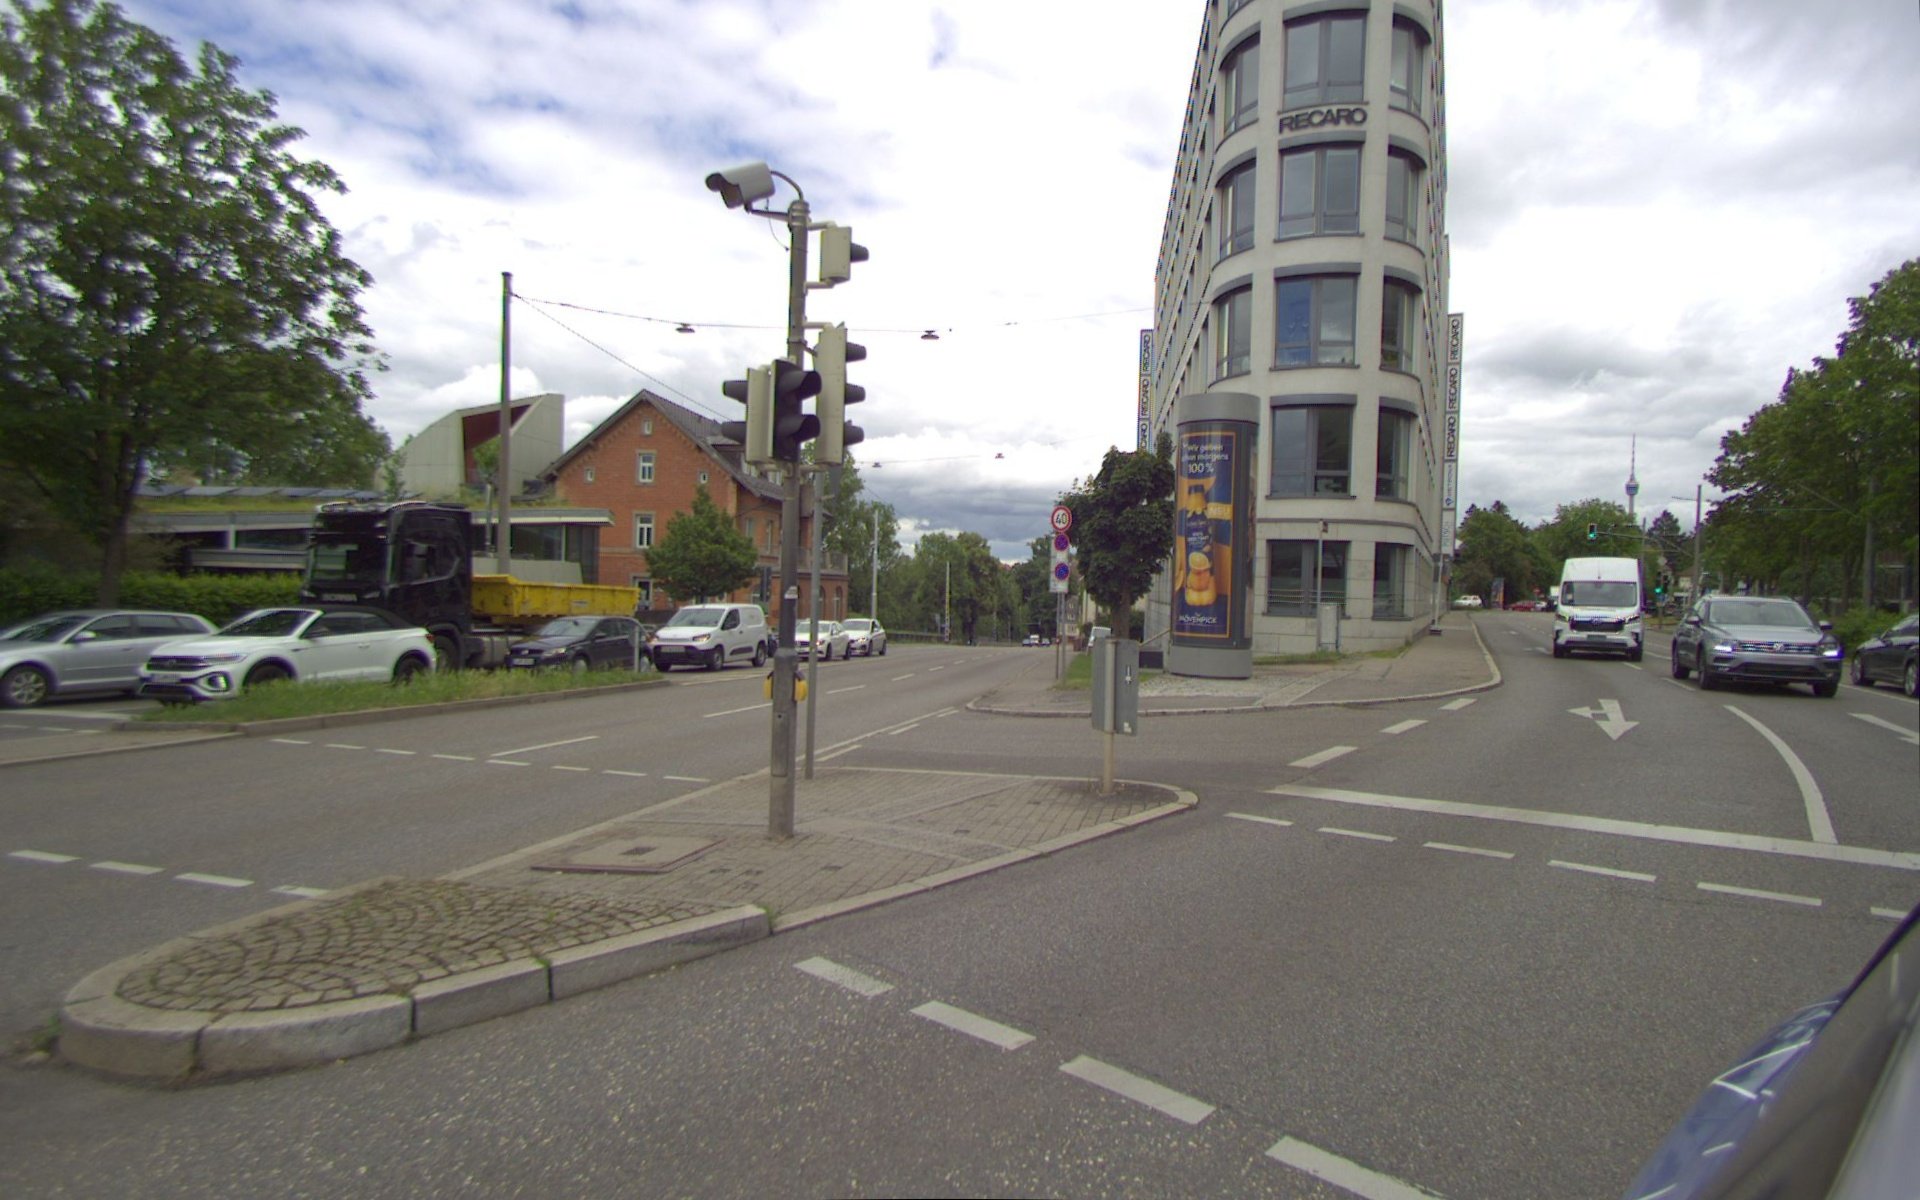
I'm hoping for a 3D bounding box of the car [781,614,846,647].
[{"bbox_3d":[-6.599,1.358,45.915,1.660,1.459,3.969,-1,-1,12],"label":"car"}]

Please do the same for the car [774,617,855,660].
[{"bbox_3d":[-5.095,1.306,35.909,1.726,1.394,4.277,0,-1,8],"label":"car"}]

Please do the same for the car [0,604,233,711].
[{"bbox_3d":[-13.903,0.804,15.570,1.961,1.461,4.139,0,0,15],"label":"car"}]

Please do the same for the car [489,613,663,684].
[{"bbox_3d":[-8.343,0.998,22.387,1.630,1.391,3.959,0,-1,14],"label":"car"}]

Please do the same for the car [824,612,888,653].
[{"bbox_3d":[-4.308,1.333,42.592,1.708,1.588,4.315,-1,-1,8],"label":"car"}]

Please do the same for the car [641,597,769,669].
[{"bbox_3d":[-6.966,0.866,28.095,1.728,1.820,4.271,0,-1,12],"label":"car"}]

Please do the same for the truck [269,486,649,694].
[{"bbox_3d":[-11.234,-0.210,24.297,2.787,3.975,9.417,0,0,14],"label":"truck"}]

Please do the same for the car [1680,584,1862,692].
[{"bbox_3d":[14.166,0.574,17.933,1.819,1.666,4.281,0,0,29],"label":"car"}]

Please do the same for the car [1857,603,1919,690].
[{"bbox_3d":[17.579,0.840,17.611,1.834,1.454,4.659,3,2,28],"label":"car"}]

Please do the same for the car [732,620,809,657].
[{"bbox_3d":[-7.583,1.520,40.865,1.660,1.350,3.969,0,-1,12],"label":"car"}]

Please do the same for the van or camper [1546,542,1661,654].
[{"bbox_3d":[17.537,-0.070,27.883,2.091,2.724,6.239,0,0,27],"label":"van or camper"}]

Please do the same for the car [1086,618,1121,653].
[{"bbox_3d":[9.435,2.280,66.418,2.143,2.039,3.988,1,1,10],"label":"car"}]

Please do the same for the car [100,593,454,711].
[{"bbox_3d":[-10.288,0.718,15.735,1.829,1.549,4.466,0,-1,15],"label":"car"}]
